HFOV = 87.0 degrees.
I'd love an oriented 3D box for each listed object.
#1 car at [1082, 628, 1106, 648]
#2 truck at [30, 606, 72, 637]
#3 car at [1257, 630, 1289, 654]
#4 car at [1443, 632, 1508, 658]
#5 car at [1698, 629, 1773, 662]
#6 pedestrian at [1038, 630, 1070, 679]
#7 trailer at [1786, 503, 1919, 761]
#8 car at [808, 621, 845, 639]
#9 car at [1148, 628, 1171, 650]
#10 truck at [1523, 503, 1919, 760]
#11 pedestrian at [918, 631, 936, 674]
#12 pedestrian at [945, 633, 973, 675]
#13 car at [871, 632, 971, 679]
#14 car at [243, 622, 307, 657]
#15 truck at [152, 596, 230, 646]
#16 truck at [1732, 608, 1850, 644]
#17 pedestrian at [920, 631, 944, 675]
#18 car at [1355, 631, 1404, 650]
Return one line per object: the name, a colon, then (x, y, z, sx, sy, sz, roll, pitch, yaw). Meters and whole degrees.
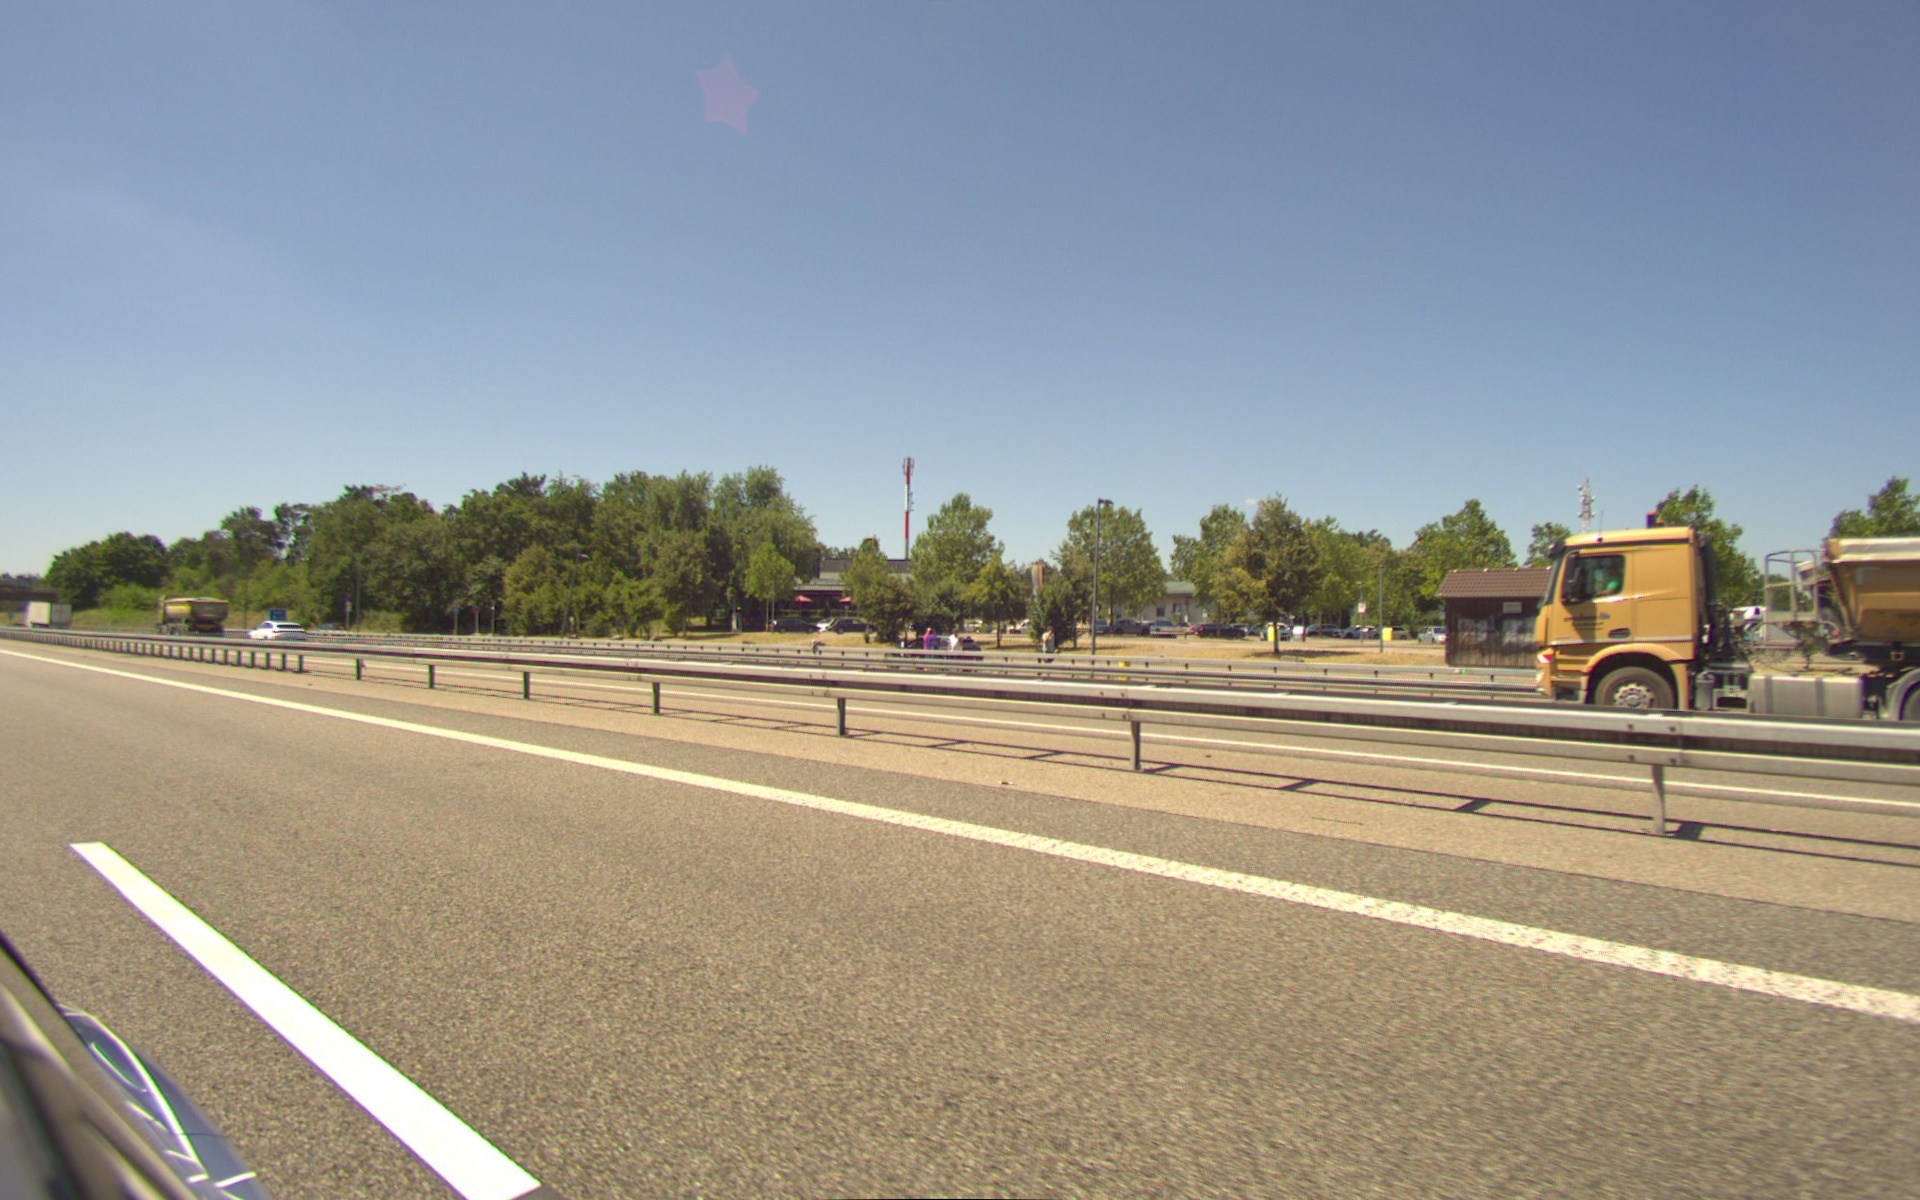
car: (11.298, 3.203, 85.597, 1.476, 1.621, 3.114, -1, 0, -2)
truck: (-136.639, 3.134, 152.056, 11.328, 4.445, 3.357, -1, 0, 41)
car: (23.147, 3.101, 75.000, 1.542, 1.621, 3.433, -1, 0, 6)
car: (33.331, 2.891, 65.511, 3.680, 1.621, 1.547, -1, 0, 28)
car: (43.474, 2.525, 56.820, 1.676, 1.684, 3.489, -1, 0, 4)
pedestrian: (3.232, 1.874, 34.953, 0.873, 1.619, 0.669, -1, 0, 34)
trailer: (16.552, 0.398, 12.794, 9.366, 3.542, 2.753, -1, 0, 41)
car: (-14.033, 3.170, 106.705, 1.797, 1.786, 3.976, -1, 0, 29)
car: (16.110, 3.146, 81.707, 1.479, 1.621, 3.107, -1, 0, 6)
truck: (12.571, 0.443, 16.330, 5.643, 3.542, 2.753, -1, 0, 41)
pedestrian: (-1.265, 1.996, 38.745, 0.466, 1.619, 0.501, -1, 0, -35)
pedestrian: (-0.025, 2.042, 38.394, 0.757, 1.529, 0.748, -1, 0, 33)
car: (-1.619, 2.195, 41.008, 3.999, 1.684, 1.674, -1, 0, 42)
car: (-36.653, 2.088, 54.112, 4.507, 1.726, 1.787, -1, 0, 41)
truck: (-63.114, 1.634, 82.900, 11.485, 3.842, 2.835, -1, 0, 41)
truck: (60.457, 1.859, 73.716, 6.834, 2.511, 2.140, -1, 0, 0)
pedestrian: (-1.063, 1.994, 38.127, 0.635, 1.619, 0.657, -1, 0, -37)
car: (36.267, 3.464, 87.549, 3.600, 1.544, 1.541, -1, 0, 39)
